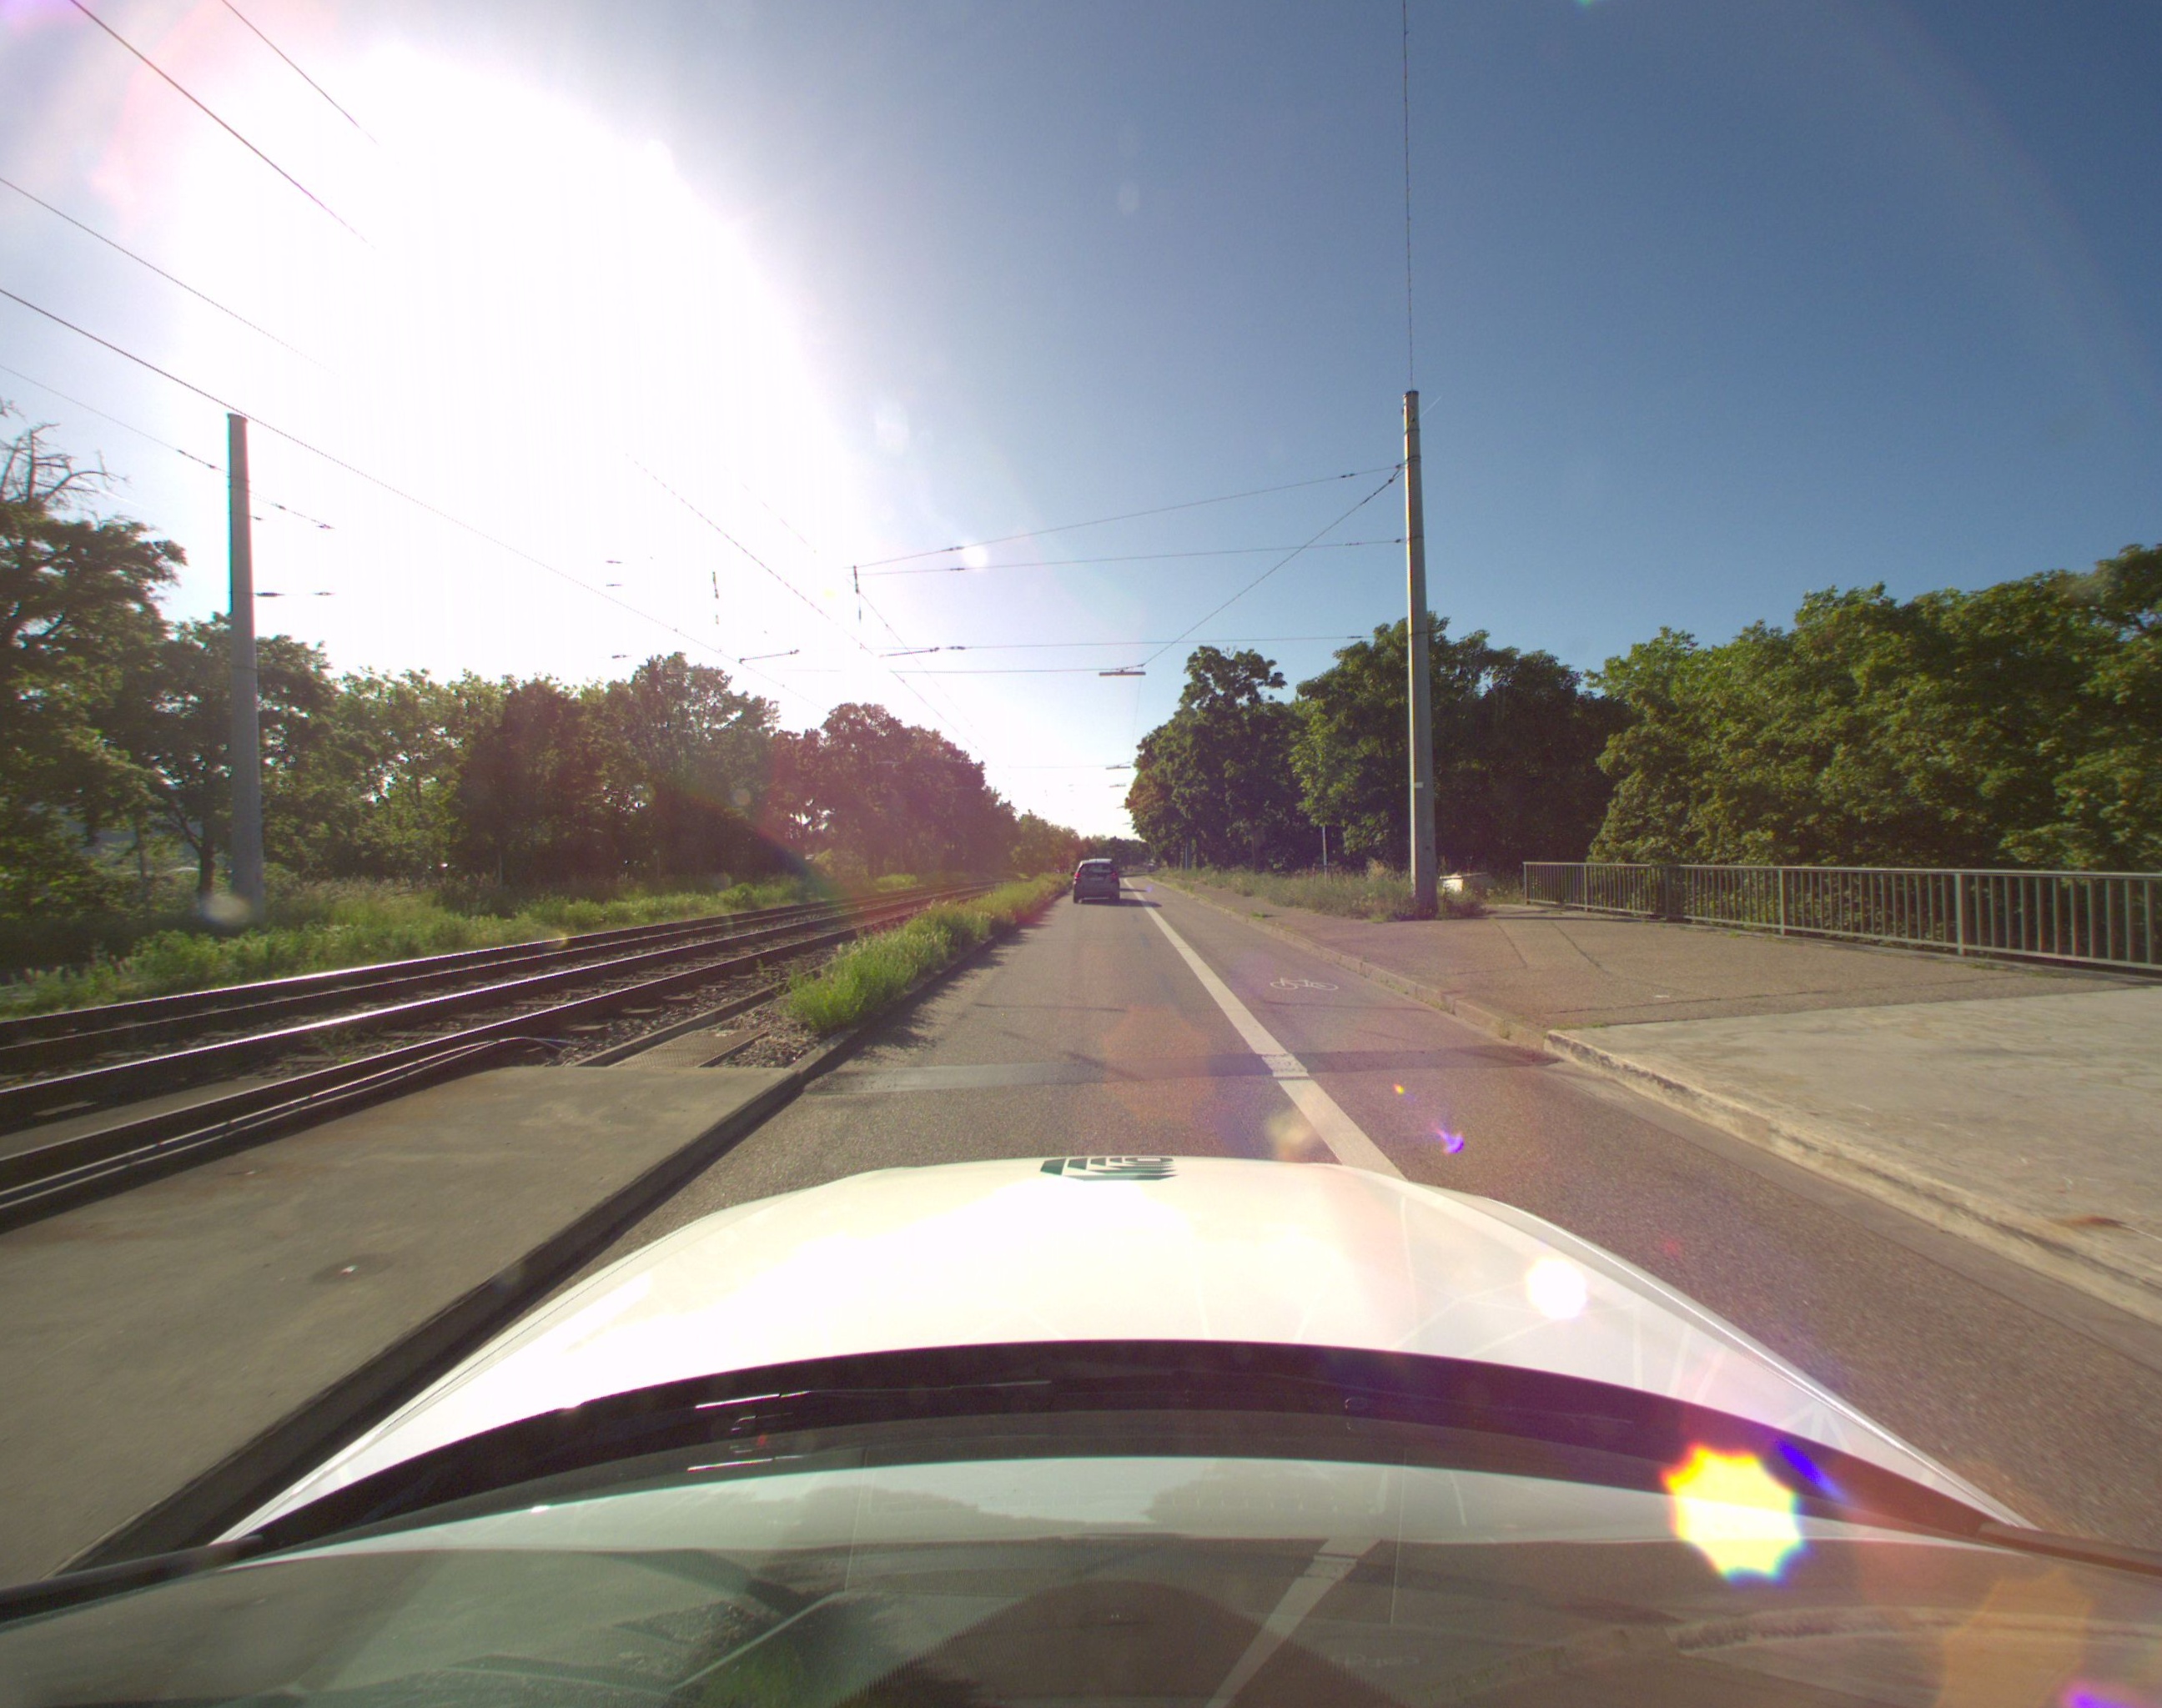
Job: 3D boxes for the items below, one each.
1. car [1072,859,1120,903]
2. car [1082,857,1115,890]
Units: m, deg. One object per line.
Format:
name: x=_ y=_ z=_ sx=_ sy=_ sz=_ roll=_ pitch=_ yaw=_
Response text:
car: x=0.597 y=0.954 z=30.210 sx=1.663 sy=1.507 sz=3.813 roll=0 pitch=0 yaw=2
car: x=0.953 y=0.989 z=42.792 sx=1.648 sy=1.507 sz=3.814 roll=0 pitch=1 yaw=2
